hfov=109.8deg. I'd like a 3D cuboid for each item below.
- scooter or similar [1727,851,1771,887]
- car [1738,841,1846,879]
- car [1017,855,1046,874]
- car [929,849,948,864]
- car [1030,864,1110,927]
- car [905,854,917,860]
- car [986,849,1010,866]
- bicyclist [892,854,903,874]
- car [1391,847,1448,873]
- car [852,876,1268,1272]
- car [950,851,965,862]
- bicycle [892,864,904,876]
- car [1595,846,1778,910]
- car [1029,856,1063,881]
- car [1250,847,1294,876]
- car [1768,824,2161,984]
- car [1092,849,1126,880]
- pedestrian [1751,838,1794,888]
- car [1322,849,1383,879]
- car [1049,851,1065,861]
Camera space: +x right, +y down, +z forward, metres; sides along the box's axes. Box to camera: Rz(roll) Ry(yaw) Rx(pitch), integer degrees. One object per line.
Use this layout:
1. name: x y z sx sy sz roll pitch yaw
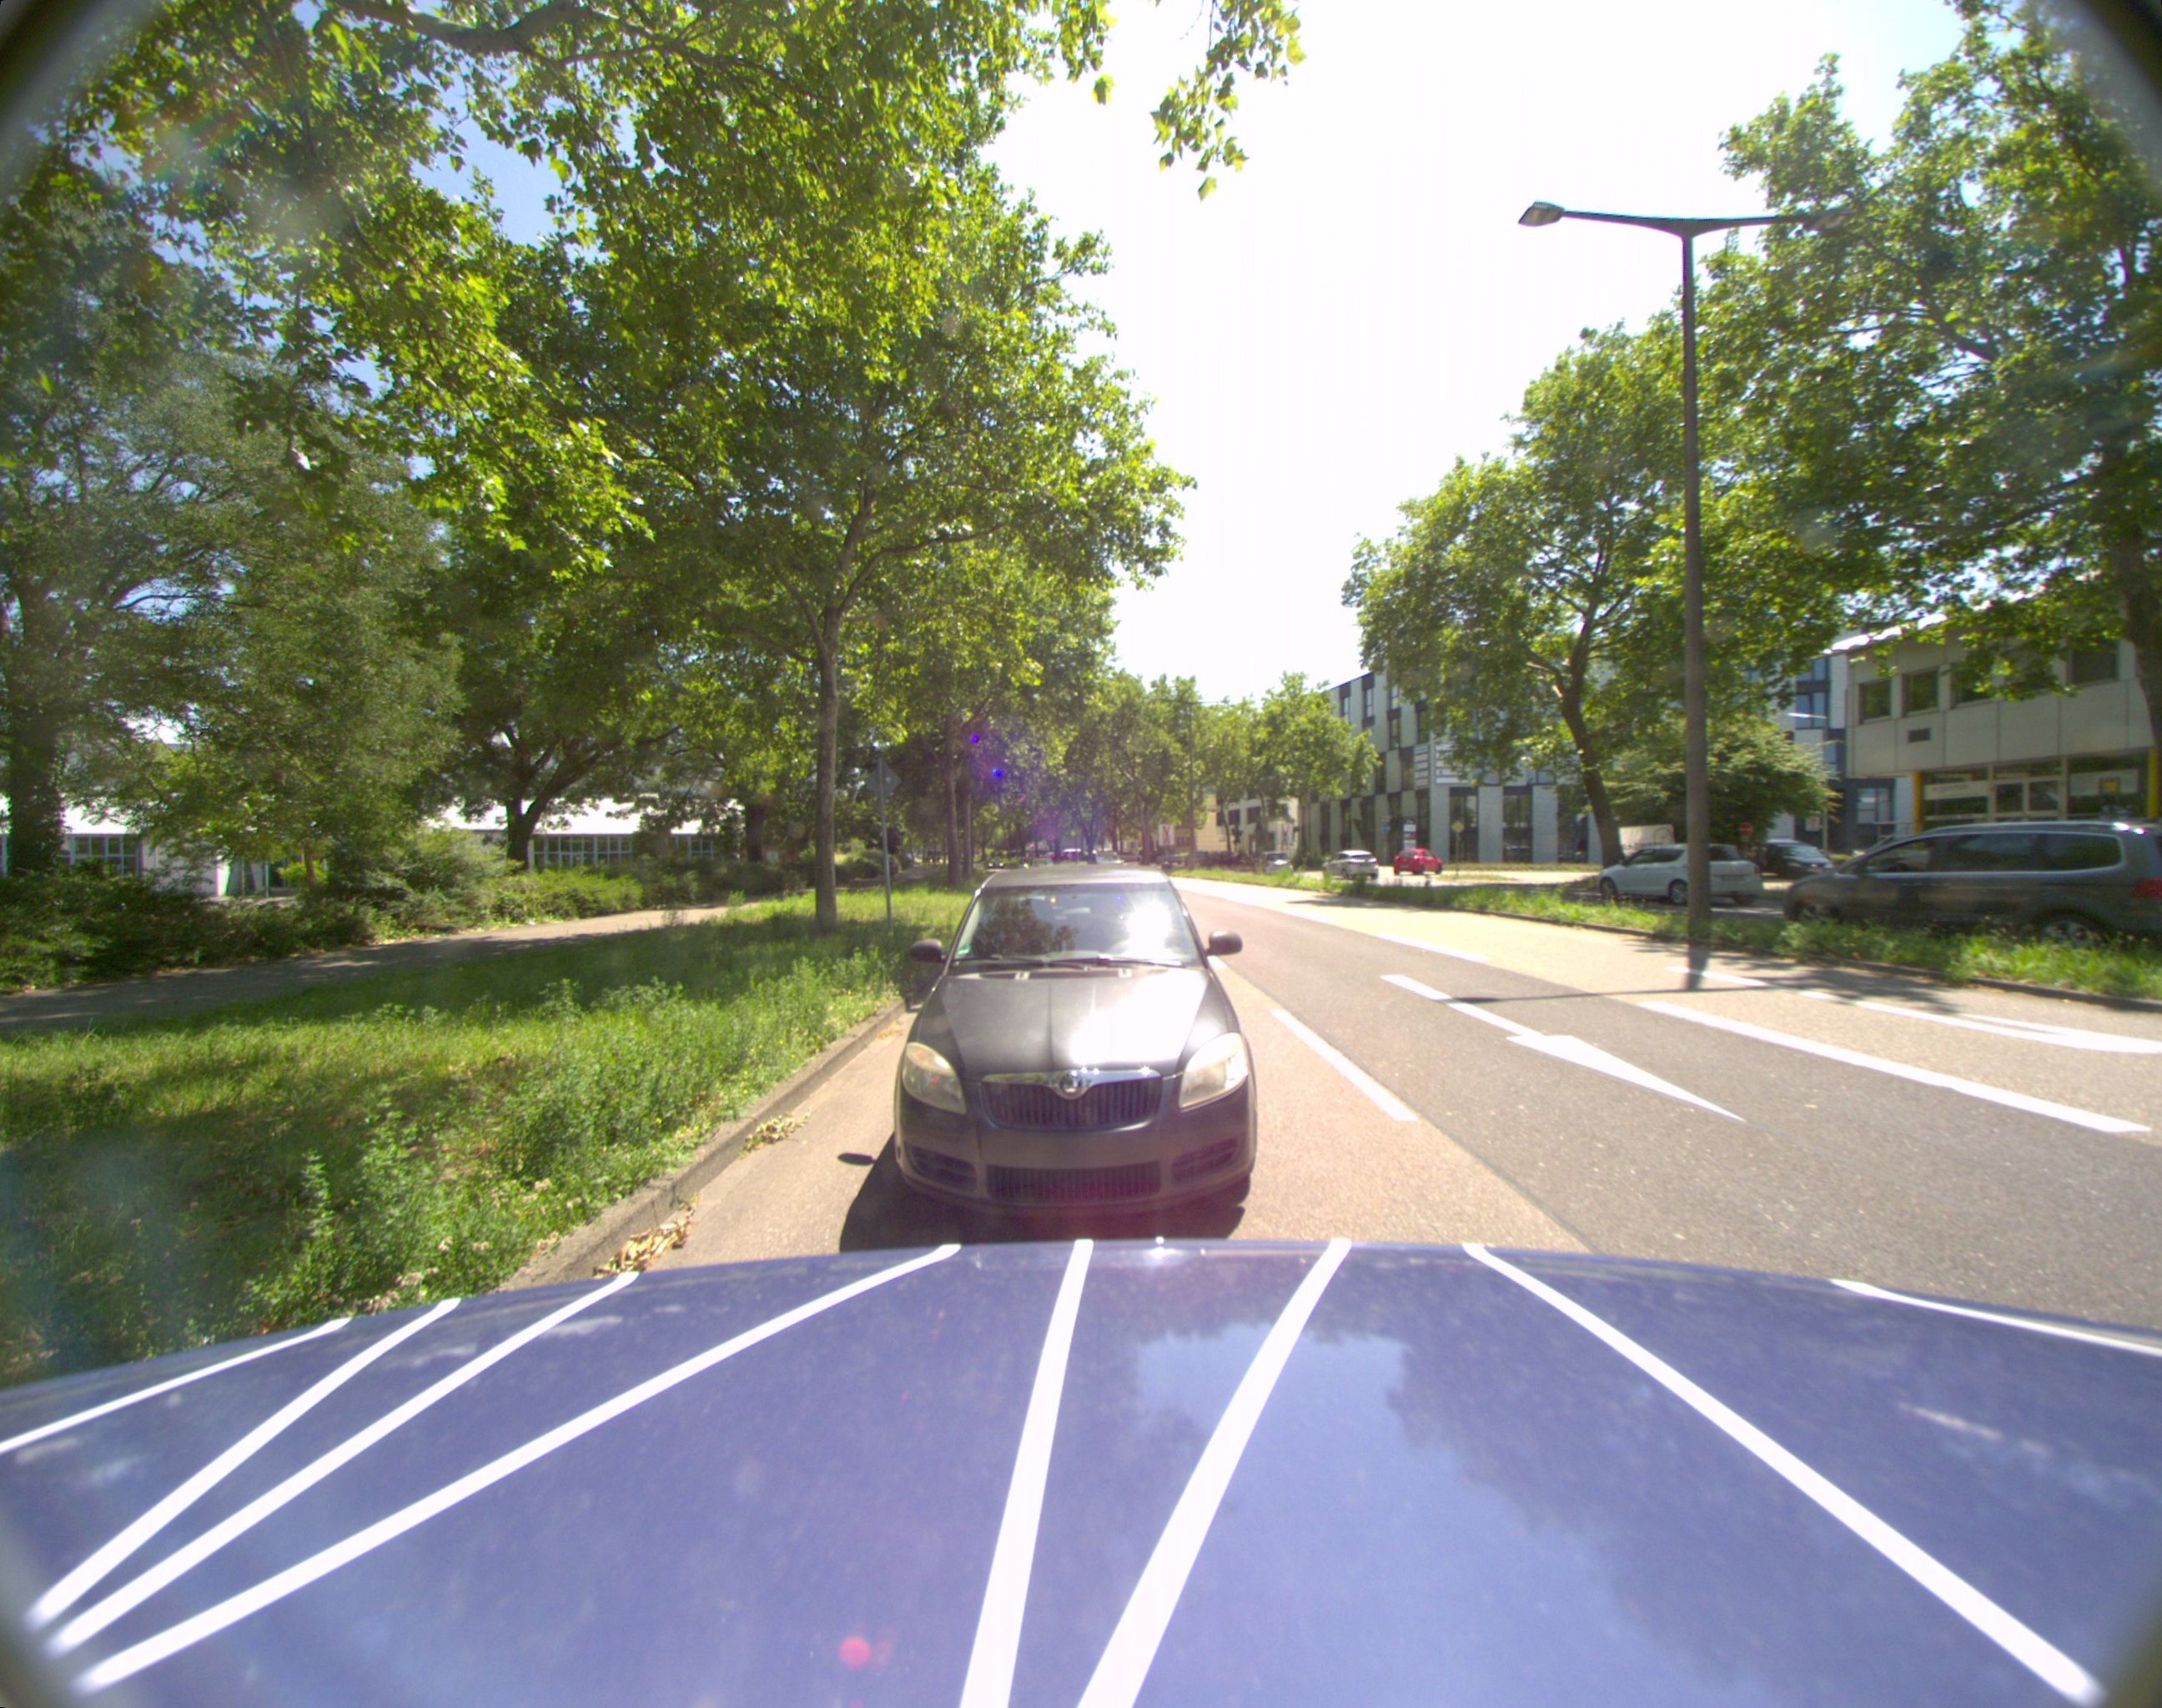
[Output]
1. scooter or similar: 21.908 0.469 24.926 0.680 1.157 0.859 -1 0 -1
2. car: 32.817 0.245 35.207 1.819 1.638 3.528 -2 1 4
3. car: -4.088 0.822 62.043 1.625 1.437 3.646 -1 0 -16
4. car: -26.852 0.418 143.032 2.922 2.639 6.357 -1 0 -17
5. car: -0.224 0.967 19.060 1.791 1.325 3.742 -2 0 1
6. car: -37.206 0.645 166.514 1.511 1.379 3.420 -1 0 -32
7. car: -9.755 0.408 89.250 2.001 1.871 3.994 -1 0 -17
8. bicyclist: -12.286 0.675 50.975 0.600 1.331 0.666 0 0 -3
9. car: 19.696 0.322 44.189 3.537 1.453 1.672 -1 1 -41
10. car: -0.059 0.953 5.014 1.654 1.453 3.865 -1 0 1
11. car: -19.671 0.385 121.249 2.001 1.783 3.994 -1 0 -15
12. bicycle: -12.282 1.086 50.968 0.465 0.759 1.668 -1 0 -4
13. car: 15.136 0.555 19.269 1.736 1.450 3.673 -1 0 0
14. car: -2.149 0.869 47.370 1.878 1.448 3.786 -2 0 1
15. car: 10.621 0.407 42.415 1.537 1.519 2.853 -1 0 -5
16. car: 12.057 0.493 9.933 1.954 1.646 4.620 -1 0 -1
17. car: 1.648 0.578 45.686 1.859 1.745 4.648 -1 0 0
18. pedestrian: 21.908 0.279 24.090 0.643 1.551 0.791 -1 1 -2
19. car: 14.021 0.491 39.465 1.756 1.435 3.671 -1 0 -2
20. car: -3.814 0.303 121.228 1.955 1.600 3.996 -1 0 -11
